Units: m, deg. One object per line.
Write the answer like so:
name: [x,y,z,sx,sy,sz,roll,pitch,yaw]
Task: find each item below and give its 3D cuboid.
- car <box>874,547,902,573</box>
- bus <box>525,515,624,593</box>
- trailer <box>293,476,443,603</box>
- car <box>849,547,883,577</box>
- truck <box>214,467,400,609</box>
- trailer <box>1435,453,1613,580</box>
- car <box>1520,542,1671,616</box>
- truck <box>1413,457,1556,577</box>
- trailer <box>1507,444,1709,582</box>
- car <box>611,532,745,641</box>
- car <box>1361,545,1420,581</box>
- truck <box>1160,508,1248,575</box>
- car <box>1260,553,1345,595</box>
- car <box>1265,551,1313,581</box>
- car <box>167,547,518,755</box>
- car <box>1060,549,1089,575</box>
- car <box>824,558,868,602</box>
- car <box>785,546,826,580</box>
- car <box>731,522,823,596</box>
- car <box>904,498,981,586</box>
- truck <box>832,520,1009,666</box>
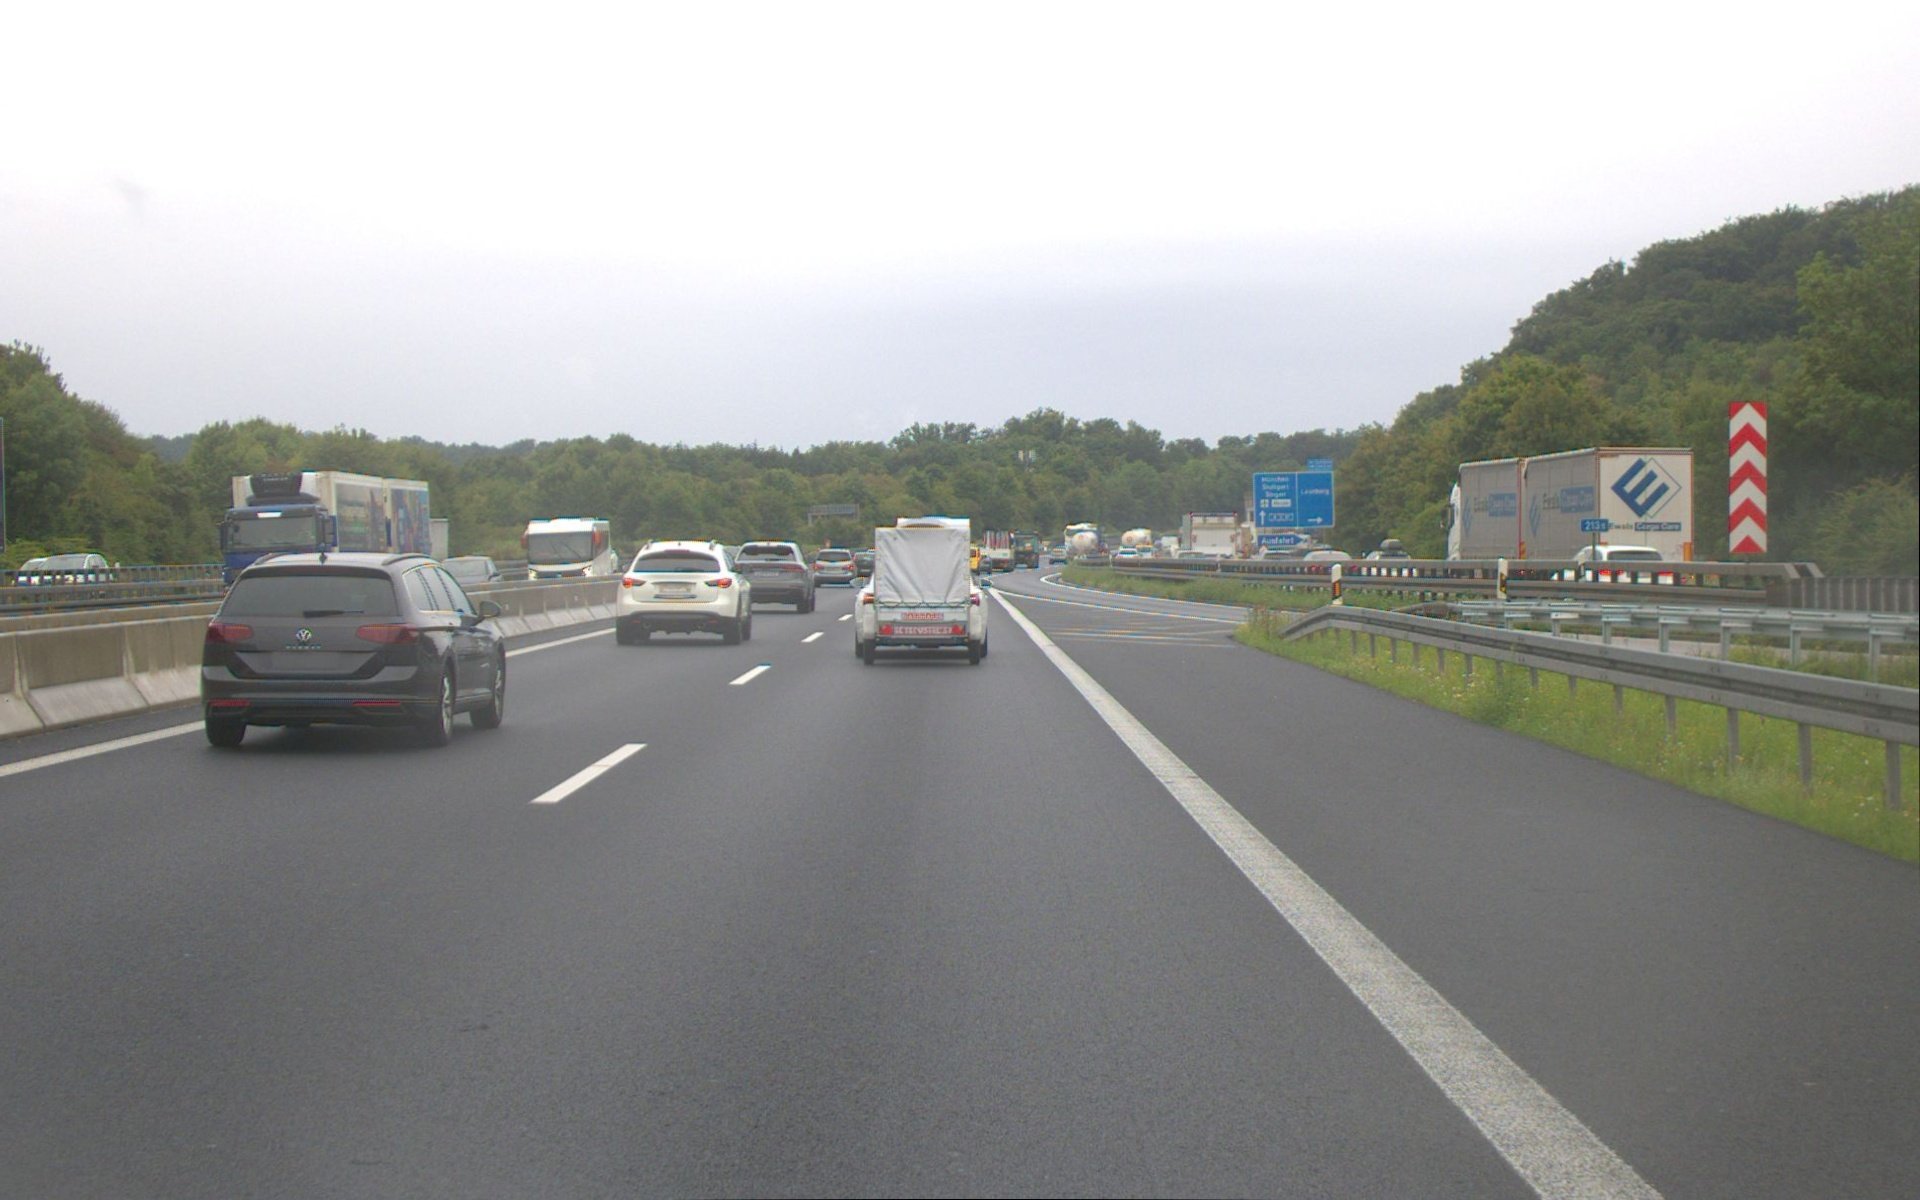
car: [-4.507,-2.541,216.837,1.645,1.568,4.000,1,1,0]
bus: [-13.379,-1.592,119.815,2.541,2.577,8.271,1,1,-1]
trailer: [-17.280,-1.758,100.809,2.943,3.504,8.052,1,1,0]
car: [-4.972,-2.033,182.807,1.645,1.568,4.000,1,1,0]
truck: [-17.229,-1.620,91.438,2.808,3.512,10.641,1,1,0]
trailer: [16.490,-2.416,101.101,2.937,3.515,8.421,1,1,-6]
car: [14.360,-0.486,77.970,1.993,1.611,5.080,0,1,-6]
truck: [16.045,-2.525,105.529,2.937,3.515,5.928,1,1,-5]
trailer: [17.397,-2.299,92.877,3.077,3.515,8.086,1,1,-6]
car: [-4.586,-0.249,55.374,2.048,1.665,4.542,1,1,-6]
car: [16.231,-1.389,129.759,1.697,1.284,3.535,1,0,-1]
truck: [13.719,-3.281,193.970,3.824,3.646,8.273,1,1,-4]
car: [11.677,-0.899,117.462,1.986,1.372,5.320,0,1,-4]
car: [14.968,-1.545,156.395,1.697,1.284,3.535,1,0,-2]
car: [-4.691,0.322,26.785,1.787,1.454,4.802,1,1,1]
car: [7.095,-2.359,213.598,1.645,1.568,4.000,1,1,0]
car: [-4.744,-0.855,143.368,1.738,1.787,4.000,1,1,0]
car: [-7.728,-1.859,172.366,1.819,1.656,4.017,0,1,0]
car: [-4.413,-1.008,83.412,1.975,1.697,4.802,1,1,0]
car: [-0.589,-1.873,110.139,2.331,2.716,6.540,0,1,-2]
truck: [-0.540,-0.137,47.363,2.242,1.833,6.585,1,1,-1]
